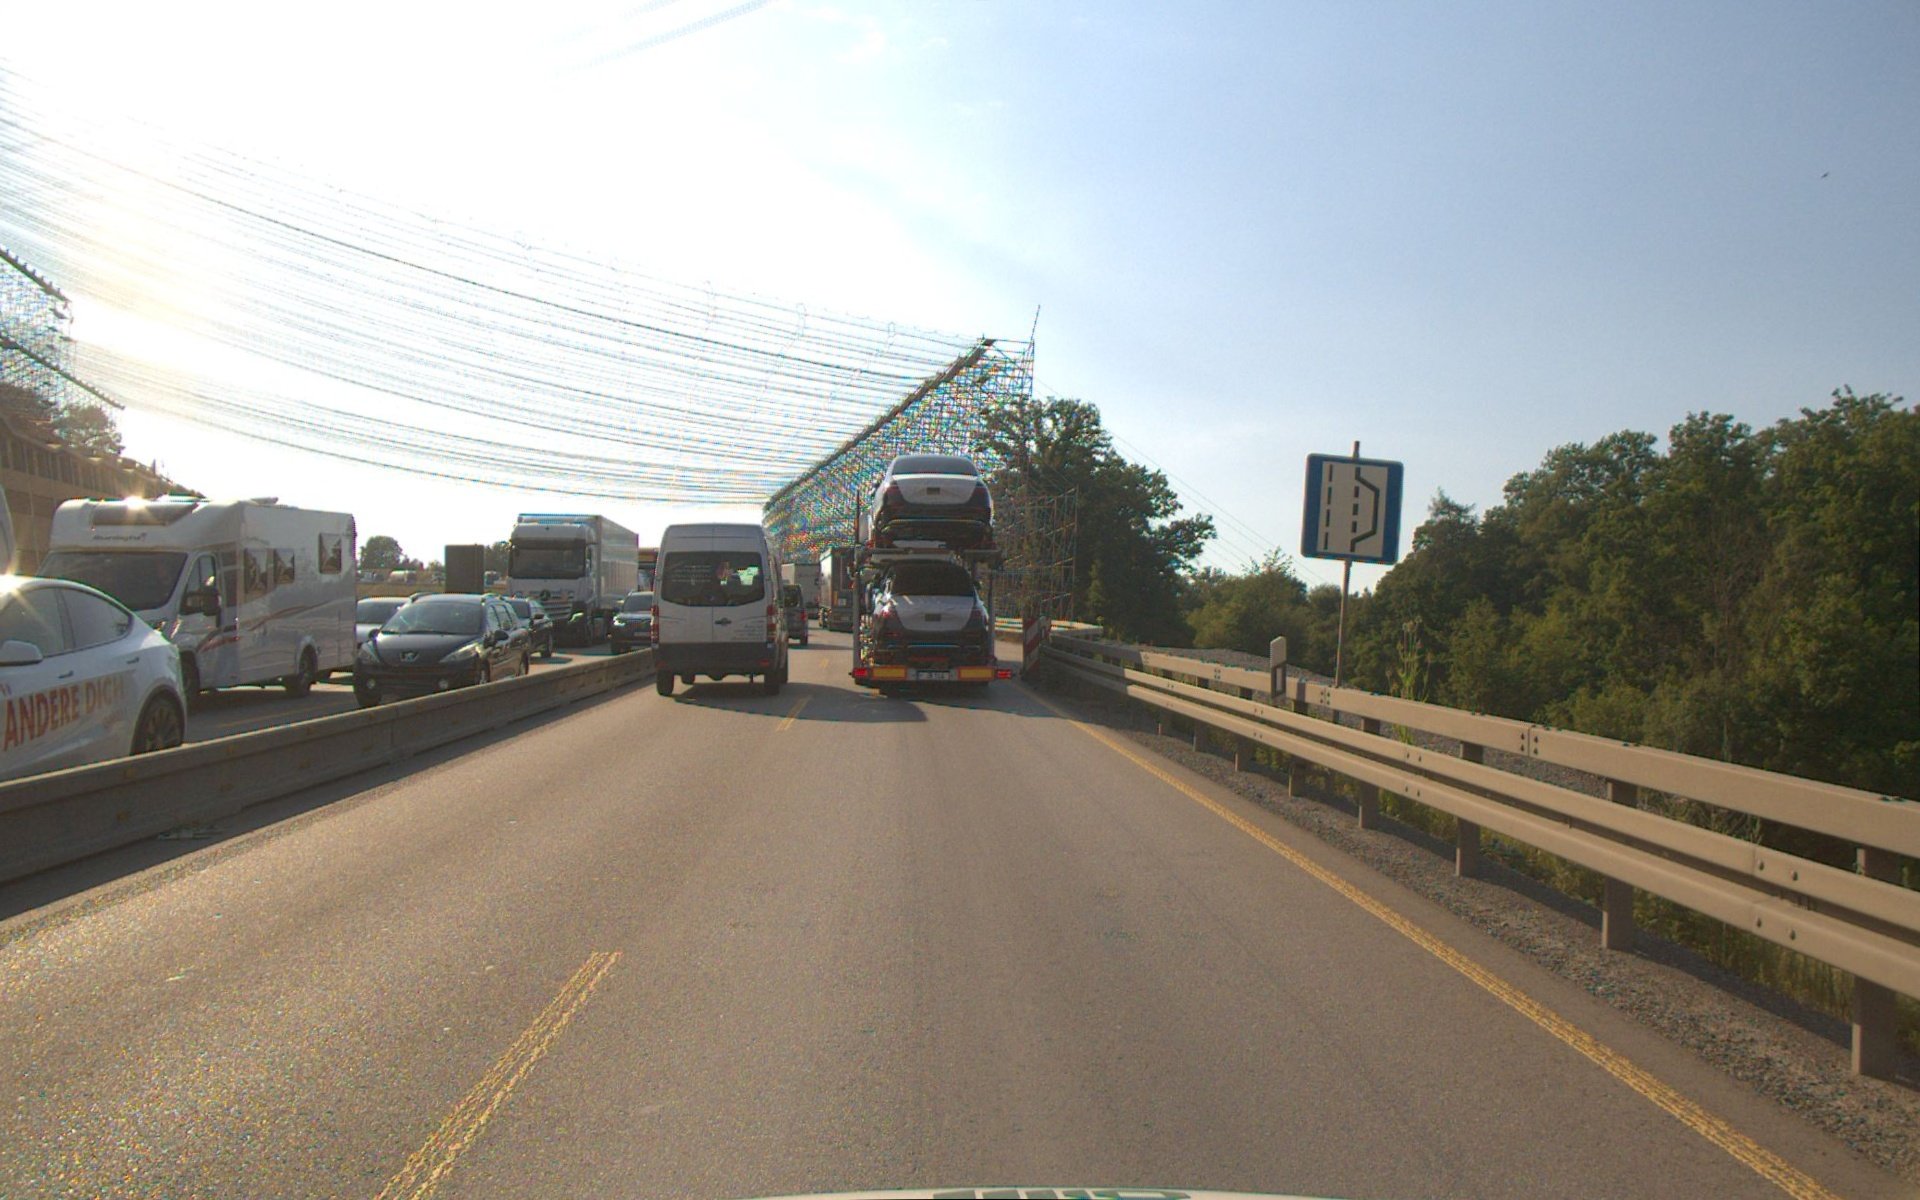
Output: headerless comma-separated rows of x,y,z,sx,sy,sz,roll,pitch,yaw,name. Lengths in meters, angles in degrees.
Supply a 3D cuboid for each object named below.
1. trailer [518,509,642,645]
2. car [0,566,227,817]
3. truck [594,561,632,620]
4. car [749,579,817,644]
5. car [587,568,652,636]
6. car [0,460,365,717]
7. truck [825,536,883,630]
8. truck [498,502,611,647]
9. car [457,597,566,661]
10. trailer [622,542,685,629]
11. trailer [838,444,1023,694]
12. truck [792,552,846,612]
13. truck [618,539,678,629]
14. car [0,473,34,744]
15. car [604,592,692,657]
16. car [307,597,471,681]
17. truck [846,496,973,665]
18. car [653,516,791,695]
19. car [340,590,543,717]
-13.390,-0.710,59.376,2.668,4.292,13.730,0,0,-6,trailer
-6.874,0.579,11.028,2.017,1.512,4.724,-3,1,-3,car
-26.067,-0.702,124.103,2.617,4.304,6.082,0,0,-14,truck
-5.911,0.389,54.890,1.957,2.049,3.990,1,-1,-10,car
-14.645,0.022,71.544,1.983,2.737,6.941,1,1,-6,car
-10.616,-0.103,23.059,2.288,2.969,7.627,0,-1,-3,car
-5.538,-0.853,84.889,2.678,4.462,11.510,1,0,-5,truck
-12.603,-0.733,51.857,2.660,4.292,5.675,0,0,-6,truck
-10.983,0.680,40.789,1.709,1.486,4.709,0,0,-4,car
-16.773,-0.733,91.192,2.714,4.409,13.856,0,0,-8,trailer
-0.858,-0.443,32.696,2.812,3.790,14.937,0,0,-3,trailer
-11.148,-1.414,129.401,3.617,4.294,13.648,-2,1,-7,truck
-15.823,-0.764,84.197,2.693,4.375,5.923,0,0,-8,truck
-10.284,0.071,13.980,1.917,2.667,5.745,0,-1,-3,car
-8.673,0.629,46.323,1.781,1.606,4.752,-2,1,-3,car
-10.623,0.695,31.105,1.714,1.447,4.606,1,0,-3,car
-1.285,-0.415,40.611,2.824,3.767,7.321,0,0,-3,truck
-3.791,0.098,26.888,1.918,2.667,3.996,0,-1,-4,car
-7.203,0.683,23.379,1.746,1.548,3.998,2,1,-3,car
